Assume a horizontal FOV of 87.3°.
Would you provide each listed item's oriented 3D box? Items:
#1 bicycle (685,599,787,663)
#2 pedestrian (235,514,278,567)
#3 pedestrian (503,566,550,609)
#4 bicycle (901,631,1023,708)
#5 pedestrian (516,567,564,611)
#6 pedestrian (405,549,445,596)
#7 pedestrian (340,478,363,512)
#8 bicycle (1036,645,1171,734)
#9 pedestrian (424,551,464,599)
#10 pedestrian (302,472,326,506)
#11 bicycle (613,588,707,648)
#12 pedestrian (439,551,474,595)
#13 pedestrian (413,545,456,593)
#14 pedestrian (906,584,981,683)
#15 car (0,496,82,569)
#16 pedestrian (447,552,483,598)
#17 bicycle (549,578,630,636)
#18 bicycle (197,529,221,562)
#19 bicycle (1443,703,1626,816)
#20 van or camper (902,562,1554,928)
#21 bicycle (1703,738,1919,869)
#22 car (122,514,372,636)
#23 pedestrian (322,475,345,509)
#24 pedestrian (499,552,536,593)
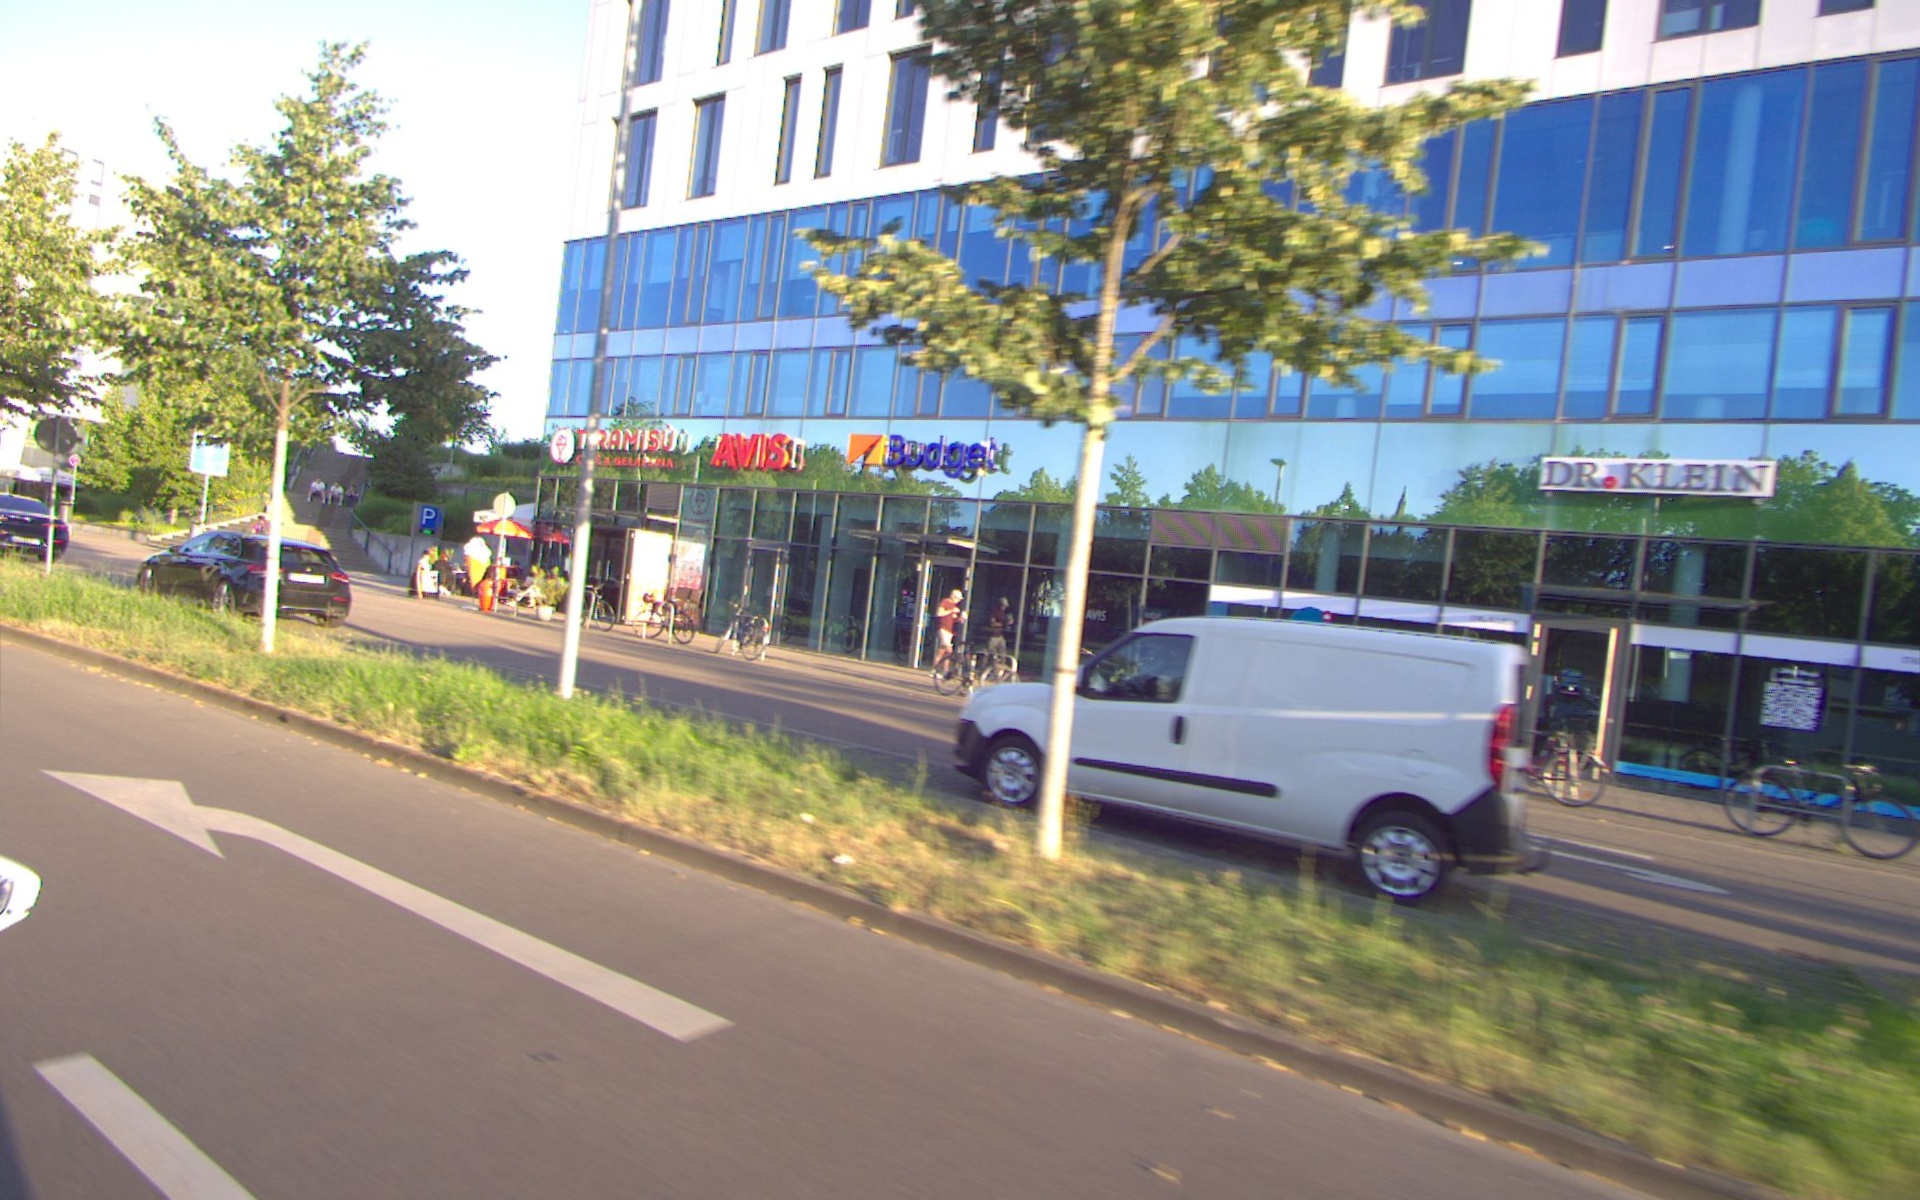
[{"bbox_3d":[-4.632,0.619,20.738,2.036,1.054,0.597,7,2,26],"label":"bicycle"},{"bbox_3d":[-24.393,-2.050,34.880,1.060,1.675,0.696,7,0,31],"label":"pedestrian"},{"bbox_3d":[-12.597,-0.360,29.222,0.673,1.140,0.973,7,2,32],"label":"pedestrian"},{"bbox_3d":[0.015,1.201,17.749,2.036,1.054,0.530,7,2,26],"label":"bicycle"},{"bbox_3d":[-12.003,-0.304,28.759,0.673,1.140,0.973,7,2,32],"label":"pedestrian"},{"bbox_3d":[-16.123,-0.830,30.302,0.674,1.308,0.779,7,3,38],"label":"pedestrian"},{"bbox_3d":[-28.305,-4.867,46.809,0.662,1.397,0.821,8,-1,-26],"label":"pedestrian"},{"bbox_3d":[2.301,1.427,16.336,2.112,1.124,0.387,7,3,32],"label":"bicycle"},{"bbox_3d":[-15.368,-0.739,29.955,0.674,1.308,0.774,7,3,38],"label":"pedestrian"},{"bbox_3d":[-29.609,-5.079,46.097,0.662,1.397,0.821,8,-1,-26],"label":"pedestrian"},{"bbox_3d":[-6.663,0.392,22.308,2.038,1.077,0.683,7,2,29],"label":"bicycle"},{"bbox_3d":[-15.697,-0.839,31.369,0.672,1.308,0.662,6,2,-1],"label":"pedestrian"},{"bbox_3d":[-16.471,-0.958,31.533,0.756,1.384,0.745,7,0,20],"label":"pedestrian"},{"bbox_3d":[-0.336,0.696,20.733,0.931,1.906,1.027,7,0,31],"label":"pedestrian"},{"bbox_3d":[-24.155,-1.857,25.016,5.321,1.519,1.922,7,0,31],"label":"car"},{"bbox_3d":[-15.095,-0.750,30.683,0.617,1.308,0.684,6,2,19],"label":"pedestrian"},{"bbox_3d":[-8.658,0.165,23.511,1.841,1.148,0.640,7,2,28],"label":"bicycle"},{"bbox_3d":[-26.510,-1.919,35.504,0.540,1.056,1.892,6,0,-38],"label":"bicycle"},{"bbox_3d":[7.420,2.023,13.063,1.891,1.054,0.527,8,3,44],"label":"bicycle"},{"bbox_3d":[2.111,0.971,8.458,4.750,1.942,1.962,7,-2,32],"label":"van or camper"},{"bbox_3d":[9.868,2.310,11.679,1.850,1.054,0.527,8,3,44],"label":"bicycle"},{"bbox_3d":[-12.228,-0.448,17.185,4.404,1.519,1.811,7,0,31],"label":"car"},{"bbox_3d":[-28.899,-4.976,46.424,0.662,1.398,0.821,8,0,-26],"label":"pedestrian"},{"bbox_3d":[-15.096,-0.936,34.297,0.758,1.281,0.744,7,0,32],"label":"pedestrian"}]
